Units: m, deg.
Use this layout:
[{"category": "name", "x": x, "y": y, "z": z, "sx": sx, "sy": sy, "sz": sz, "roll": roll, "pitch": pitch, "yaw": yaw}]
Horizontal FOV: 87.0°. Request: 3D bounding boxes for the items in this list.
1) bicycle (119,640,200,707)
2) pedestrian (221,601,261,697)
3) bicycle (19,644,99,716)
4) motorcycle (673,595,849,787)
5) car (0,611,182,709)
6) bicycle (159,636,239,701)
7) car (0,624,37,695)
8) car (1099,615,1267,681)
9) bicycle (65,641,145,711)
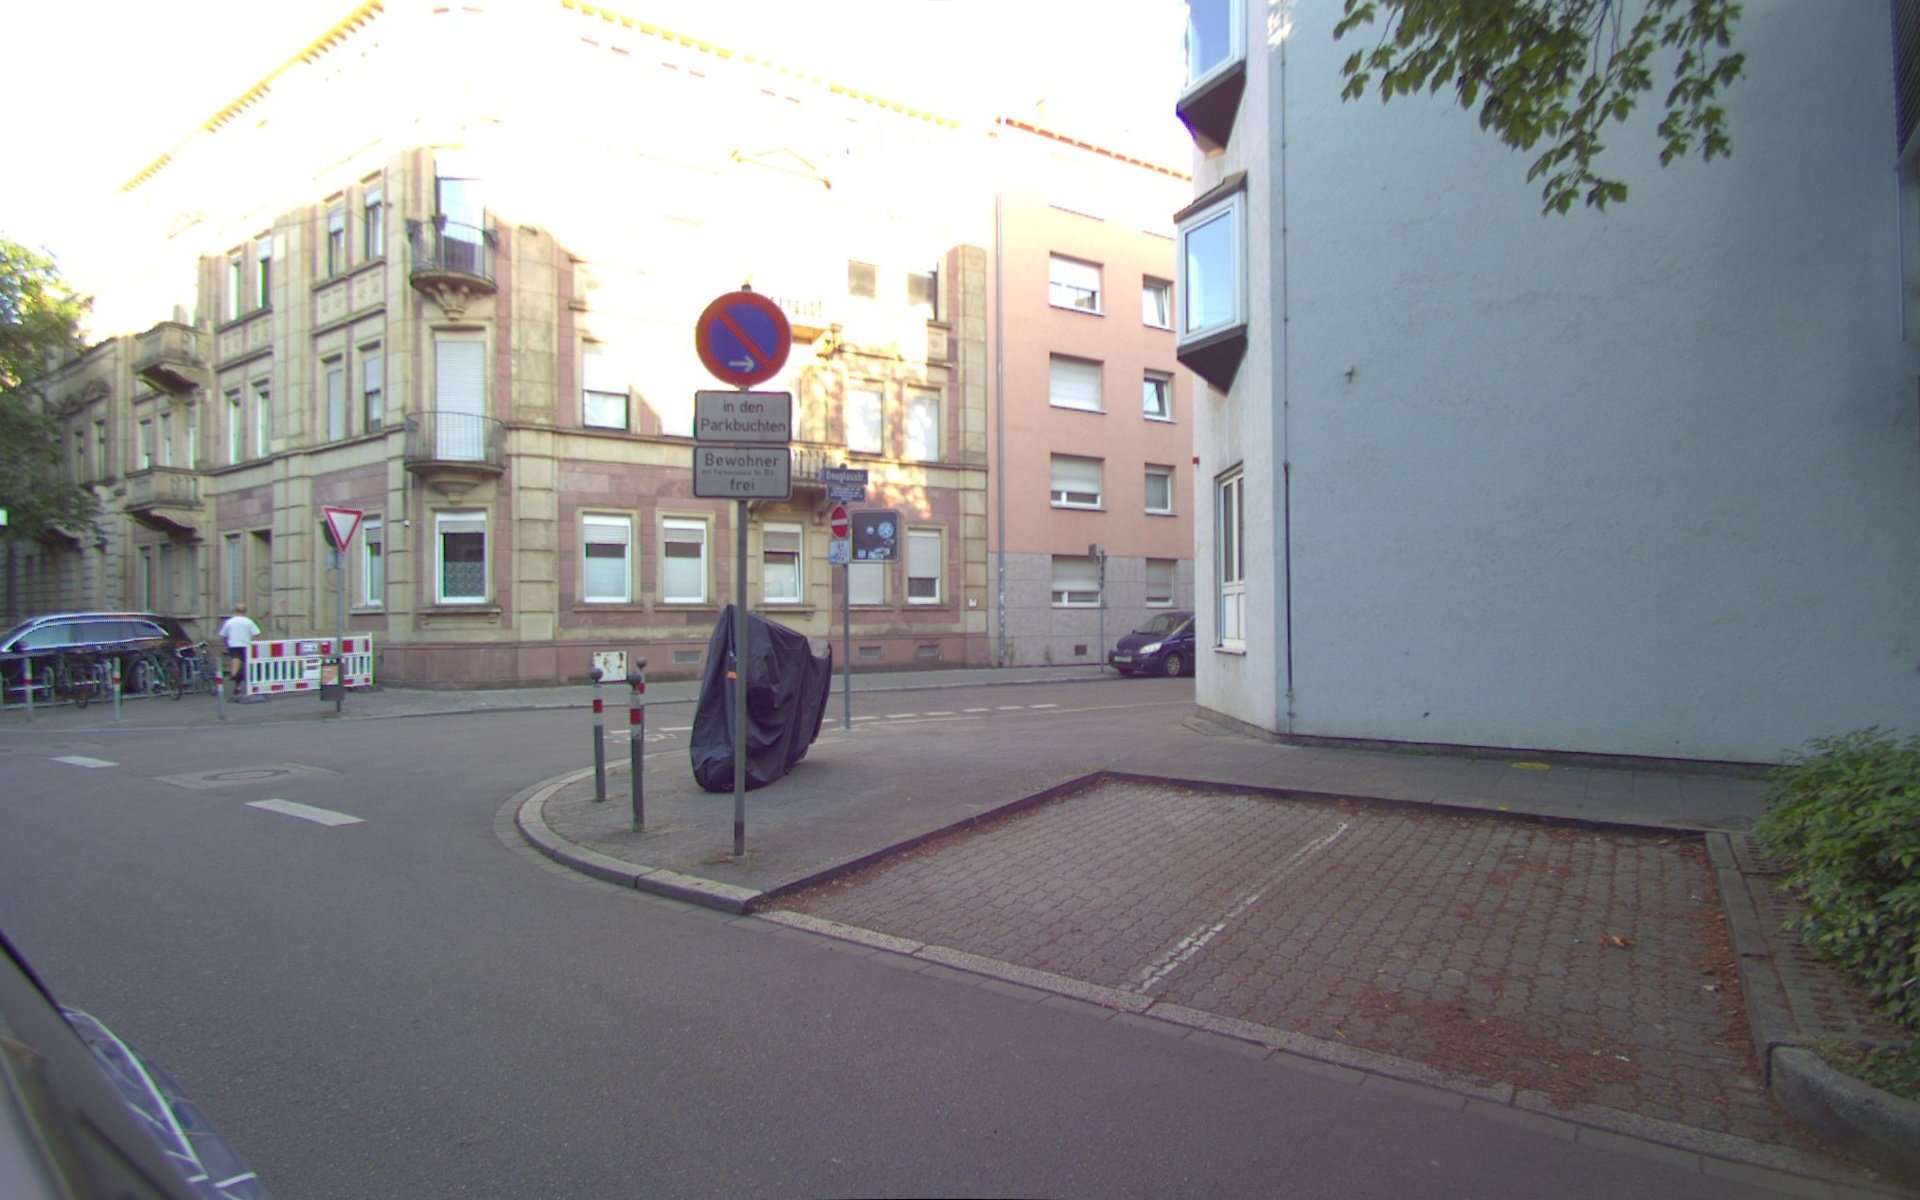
[{"category": "bicycle", "x": -14.795, "y": 1.334, "z": 18.682, "sx": 2.033, "sy": 1.159, "sz": 0.556, "roll": -1, "pitch": -1, "yaw": 33}, {"category": "pedestrian", "x": -13.911, "y": 0.938, "z": 19.586, "sx": 0.564, "sy": 1.821, "sz": 0.652, "roll": 0, "pitch": -2, "yaw": -41}, {"category": "bicycle", "x": -15.619, "y": 1.355, "z": 17.524, "sx": 2.034, "sy": 1.159, "sz": 0.555, "roll": -1, "pitch": -1, "yaw": 34}, {"category": "motorcycle", "x": -1.720, "y": 0.747, "z": 9.204, "sx": 0.809, "sy": 1.516, "sz": 2.276, "roll": -1, "pitch": -1, "yaw": 10}, {"category": "car", "x": -17.908, "y": 1.122, "z": 19.474, "sx": 1.740, "sy": 1.795, "sz": 4.369, "roll": -1, "pitch": -2, "yaw": 38}, {"category": "bicycle", "x": -14.440, "y": 1.273, "z": 19.185, "sx": 2.033, "sy": 1.159, "sz": 0.556, "roll": -1, "pitch": -1, "yaw": 33}, {"category": "car", "x": -24.300, "y": 1.410, "z": 23.392, "sx": 1.740, "sy": 1.690, "sz": 4.190, "roll": -1, "pitch": -2, "yaw": 39}, {"category": "car", "x": 5.742, "y": 1.170, "z": 25.855, "sx": 4.297, "sy": 1.529, "sz": 1.789, "roll": 1, "pitch": -2, "yaw": -36}, {"category": "bicycle", "x": -15.266, "y": 1.331, "z": 18.054, "sx": 2.034, "sy": 1.159, "sz": 0.555, "roll": -1, "pitch": -1, "yaw": 34}]
